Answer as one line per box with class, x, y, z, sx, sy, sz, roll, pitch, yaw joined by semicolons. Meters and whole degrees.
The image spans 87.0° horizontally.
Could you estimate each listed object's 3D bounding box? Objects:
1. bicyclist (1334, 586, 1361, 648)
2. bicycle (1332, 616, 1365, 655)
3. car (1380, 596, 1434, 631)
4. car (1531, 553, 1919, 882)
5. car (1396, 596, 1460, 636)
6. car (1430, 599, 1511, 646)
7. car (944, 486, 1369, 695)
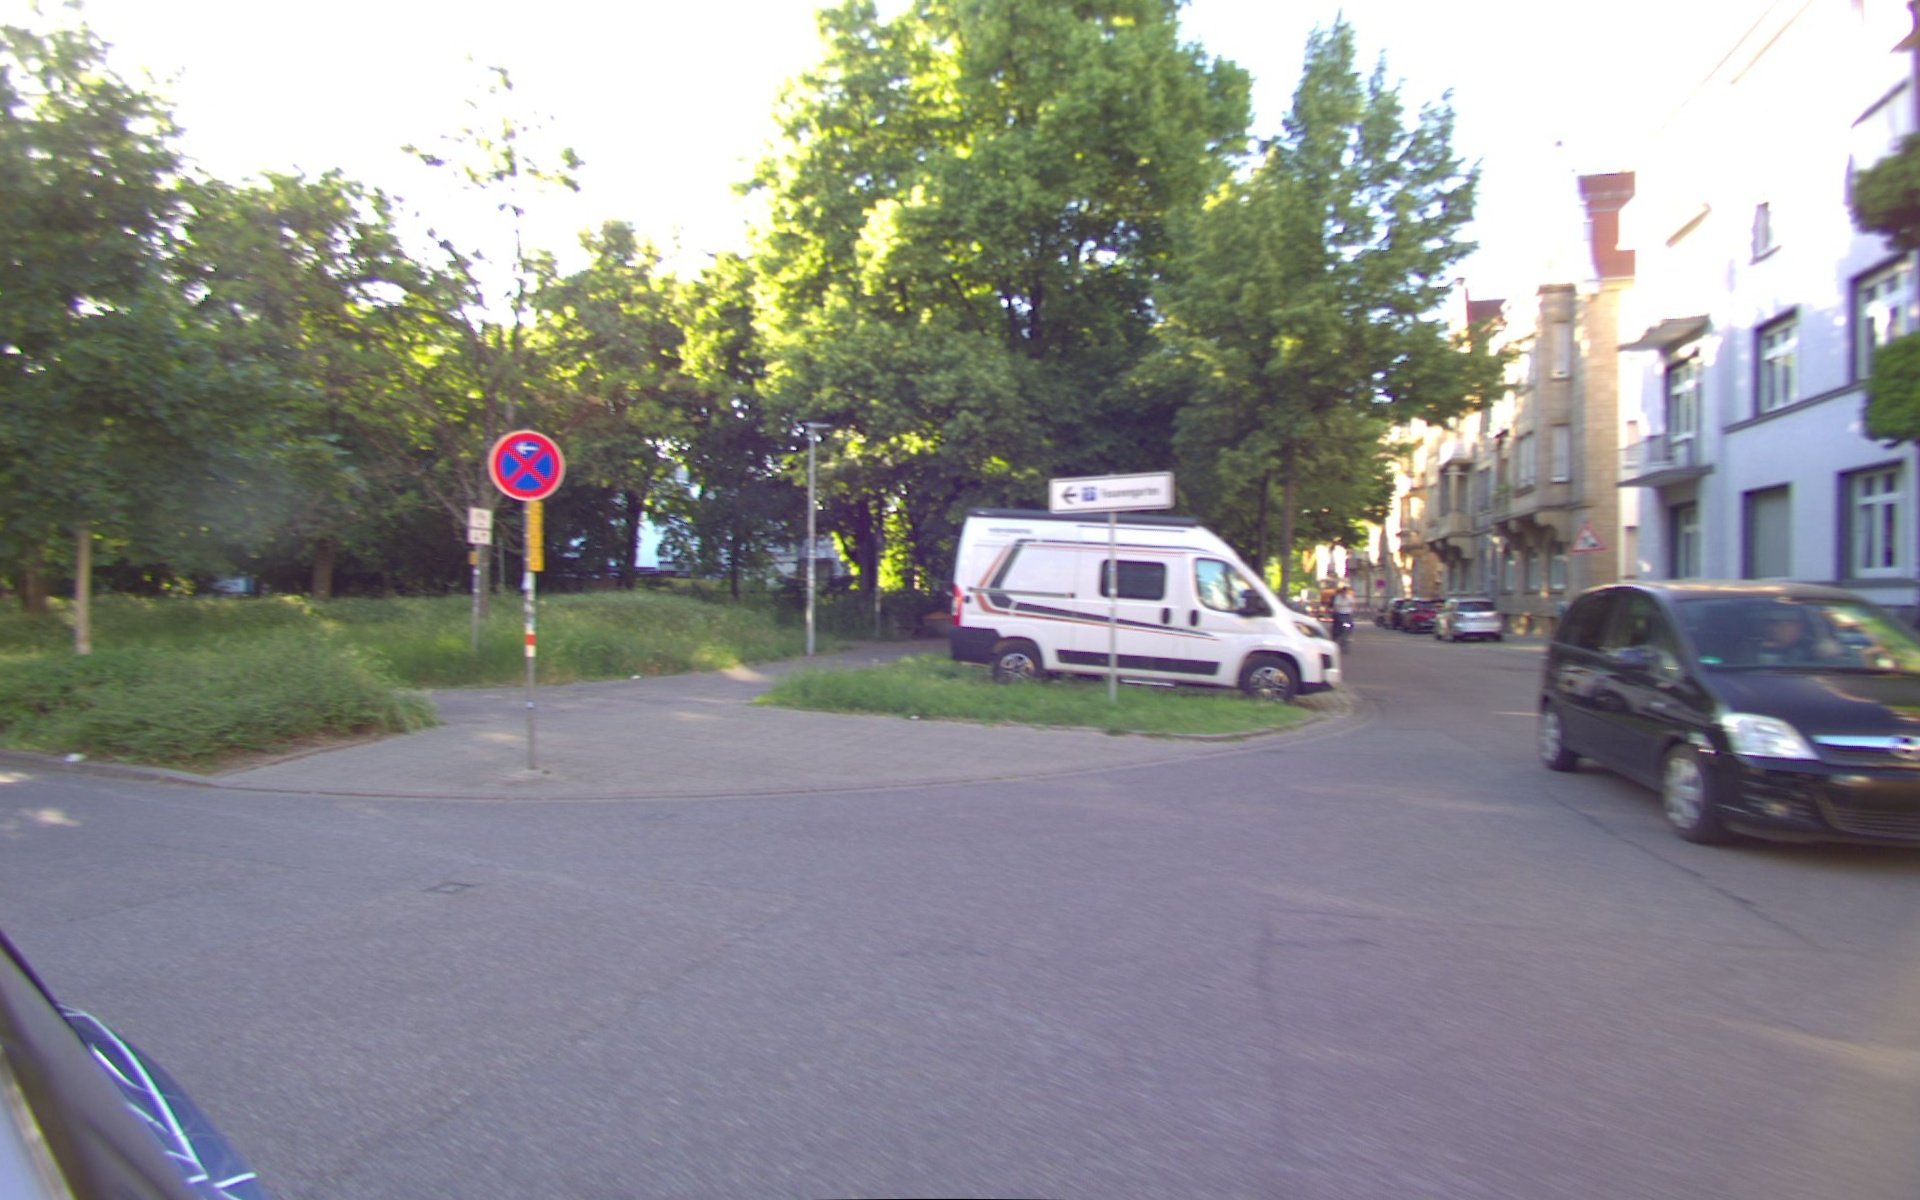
bicyclist;10.551;0.445;27.582;0.591;1.668;0.707;0;1;15
bicycle;10.542;0.951;27.509;0.609;0.982;2.060;0;0;14
car;22.595;0.630;51.285;1.983;1.637;4.121;0;1;16
car;5.393;0.576;6.815;1.634;1.602;4.001;-1;-1;14
car;20.982;0.669;45.527;1.983;1.637;4.121;0;1;16
car;18.733;0.780;37.300;1.851;1.558;3.776;0;1;14
car;2.737;-0.145;14.580;5.578;2.633;2.228;0;1;15
